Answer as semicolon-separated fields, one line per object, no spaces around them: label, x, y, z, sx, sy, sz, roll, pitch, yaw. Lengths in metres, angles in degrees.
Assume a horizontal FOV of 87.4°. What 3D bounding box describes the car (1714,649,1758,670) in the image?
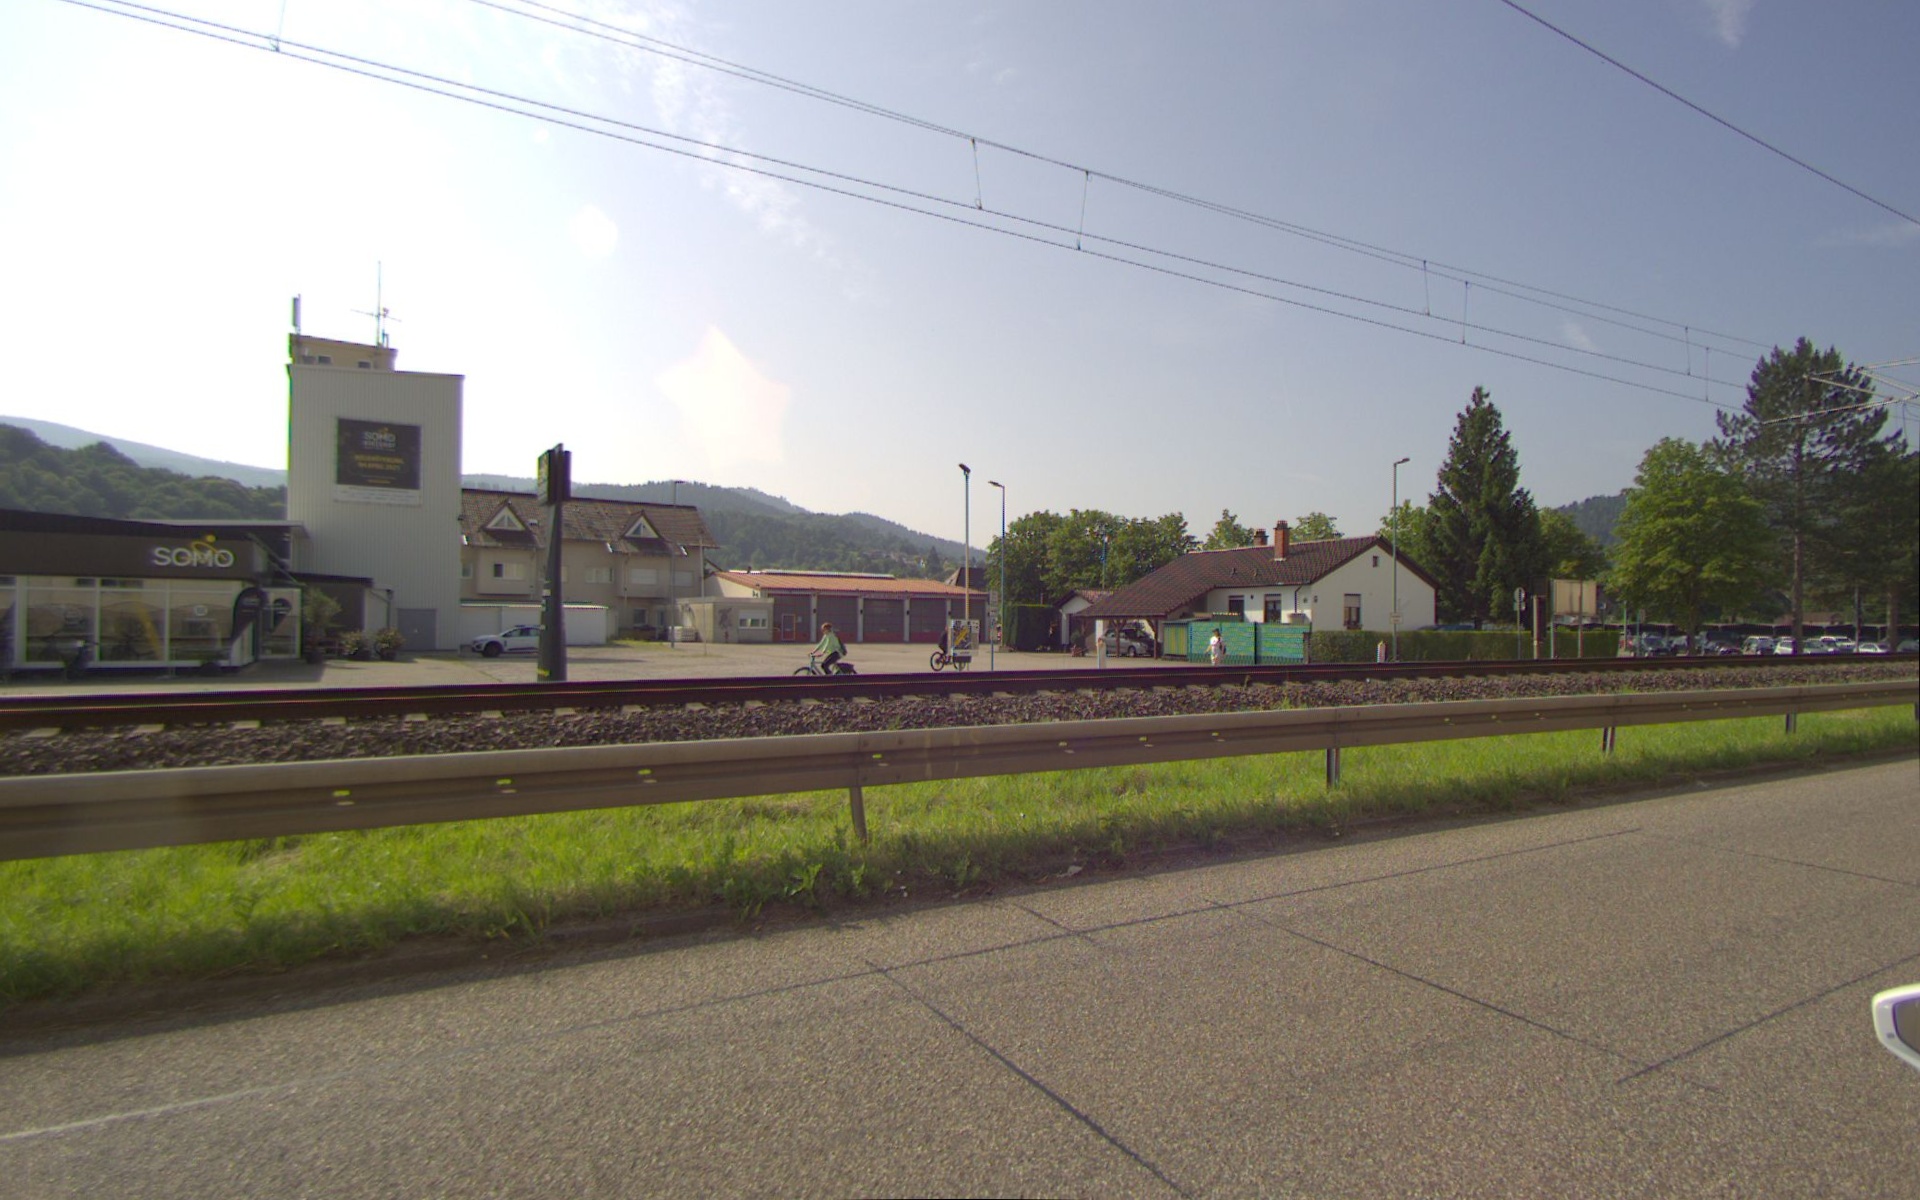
car;63.621;4.848;82.452;1.654;1.664;3.854;0;-2;18

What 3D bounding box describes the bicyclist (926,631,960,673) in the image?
bicyclist;-0.668;2.048;39.717;1.132;1.641;0.743;1;-2;-28

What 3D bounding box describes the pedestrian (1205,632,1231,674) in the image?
pedestrian;8.505;1.739;33.120;0.668;1.349;0.569;1;-2;-37

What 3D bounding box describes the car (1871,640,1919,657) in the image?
car;77.636;4.019;82.752;3.450;1.375;1.520;0;-2;17

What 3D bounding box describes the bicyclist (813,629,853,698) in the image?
bicyclist;-3.132;1.546;24.762;0.823;1.668;0.529;1;-2;-34

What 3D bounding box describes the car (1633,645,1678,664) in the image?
car;55.382;4.349;80.073;1.654;1.425;3.855;0;-2;13

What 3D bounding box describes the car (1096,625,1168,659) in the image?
car;8.906;2.173;52.174;1.692;1.673;3.820;1;-2;-29

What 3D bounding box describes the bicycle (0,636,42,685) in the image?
bicycle;-23.333;1.474;24.919;0.724;1.145;2.148;2;-2;-41

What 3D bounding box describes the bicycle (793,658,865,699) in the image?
bicycle;-3.218;1.917;24.704;1.692;0.935;0.542;1;-2;-34

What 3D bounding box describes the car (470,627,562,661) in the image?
car;-21.535;2.106;48.707;3.933;1.619;1.703;1;-2;-30

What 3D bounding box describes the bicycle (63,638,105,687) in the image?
bicycle;-21.582;1.515;24.758;0.724;1.145;2.148;2;-2;-41

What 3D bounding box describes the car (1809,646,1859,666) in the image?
car;70.423;4.458;80.967;1.654;1.526;3.854;0;-2;18

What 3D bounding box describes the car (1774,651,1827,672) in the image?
car;61.541;4.482;73.636;1.654;1.462;3.854;0;-2;18

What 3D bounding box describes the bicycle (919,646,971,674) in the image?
bicycle;-0.595;2.361;39.739;1.938;1.030;0.752;1;-2;-29

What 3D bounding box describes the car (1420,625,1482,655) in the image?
car;23.246;1.880;47.534;2.863;1.370;1.383;2;-2;-33
